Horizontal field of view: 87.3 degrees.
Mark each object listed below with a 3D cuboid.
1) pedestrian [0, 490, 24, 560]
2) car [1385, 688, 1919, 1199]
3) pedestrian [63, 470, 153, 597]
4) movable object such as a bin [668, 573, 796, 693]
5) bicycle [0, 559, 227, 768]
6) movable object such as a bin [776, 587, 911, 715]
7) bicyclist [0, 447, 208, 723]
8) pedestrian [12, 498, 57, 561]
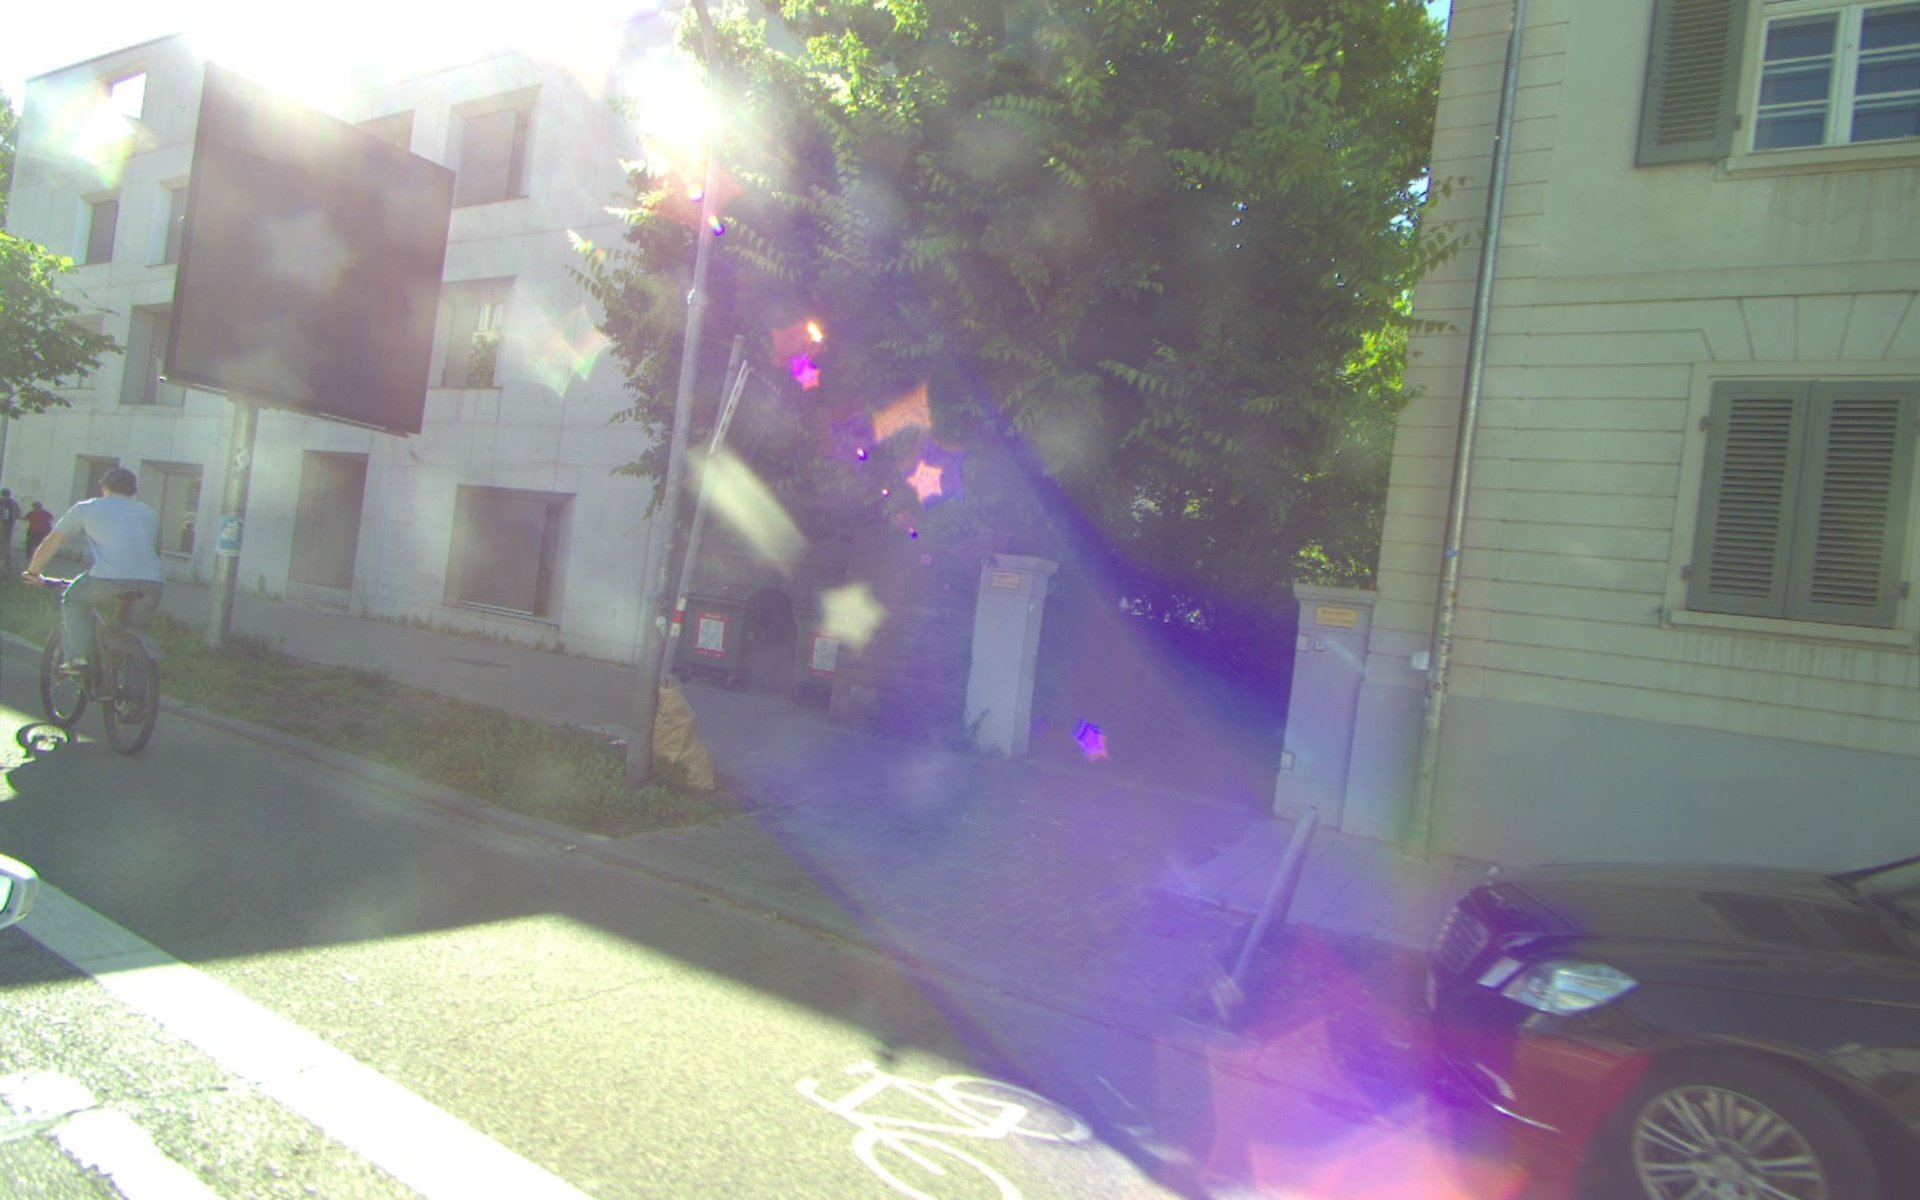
[{"bbox_3d":[-22.881,-1.814,24.000,0.752,1.620,0.518,7,0,33],"label":"pedestrian"},{"bbox_3d":[3.907,1.359,2.874,4.733,1.477,1.825,7,1,27],"label":"car"},{"bbox_3d":[-13.566,-1.053,16.018,0.939,1.873,0.685,7,1,29],"label":"pedestrian"},{"bbox_3d":[-3.200,0.472,14.128,1.333,1.481,0.935,7,-1,32],"label":"movable object such as a bin"},{"bbox_3d":[-5.950,0.383,6.829,2.076,1.106,0.740,7,-2,32],"label":"bicycle"},{"bbox_3d":[-1.531,0.668,13.265,1.308,1.481,0.935,7,-1,29],"label":"movable object such as a bin"},{"bbox_3d":[-5.873,-0.096,6.832,0.956,1.705,0.740,7,-2,32],"label":"bicyclist"},{"bbox_3d":[-22.492,-1.704,24.447,0.752,1.421,0.518,7,0,33],"label":"pedestrian"}]
